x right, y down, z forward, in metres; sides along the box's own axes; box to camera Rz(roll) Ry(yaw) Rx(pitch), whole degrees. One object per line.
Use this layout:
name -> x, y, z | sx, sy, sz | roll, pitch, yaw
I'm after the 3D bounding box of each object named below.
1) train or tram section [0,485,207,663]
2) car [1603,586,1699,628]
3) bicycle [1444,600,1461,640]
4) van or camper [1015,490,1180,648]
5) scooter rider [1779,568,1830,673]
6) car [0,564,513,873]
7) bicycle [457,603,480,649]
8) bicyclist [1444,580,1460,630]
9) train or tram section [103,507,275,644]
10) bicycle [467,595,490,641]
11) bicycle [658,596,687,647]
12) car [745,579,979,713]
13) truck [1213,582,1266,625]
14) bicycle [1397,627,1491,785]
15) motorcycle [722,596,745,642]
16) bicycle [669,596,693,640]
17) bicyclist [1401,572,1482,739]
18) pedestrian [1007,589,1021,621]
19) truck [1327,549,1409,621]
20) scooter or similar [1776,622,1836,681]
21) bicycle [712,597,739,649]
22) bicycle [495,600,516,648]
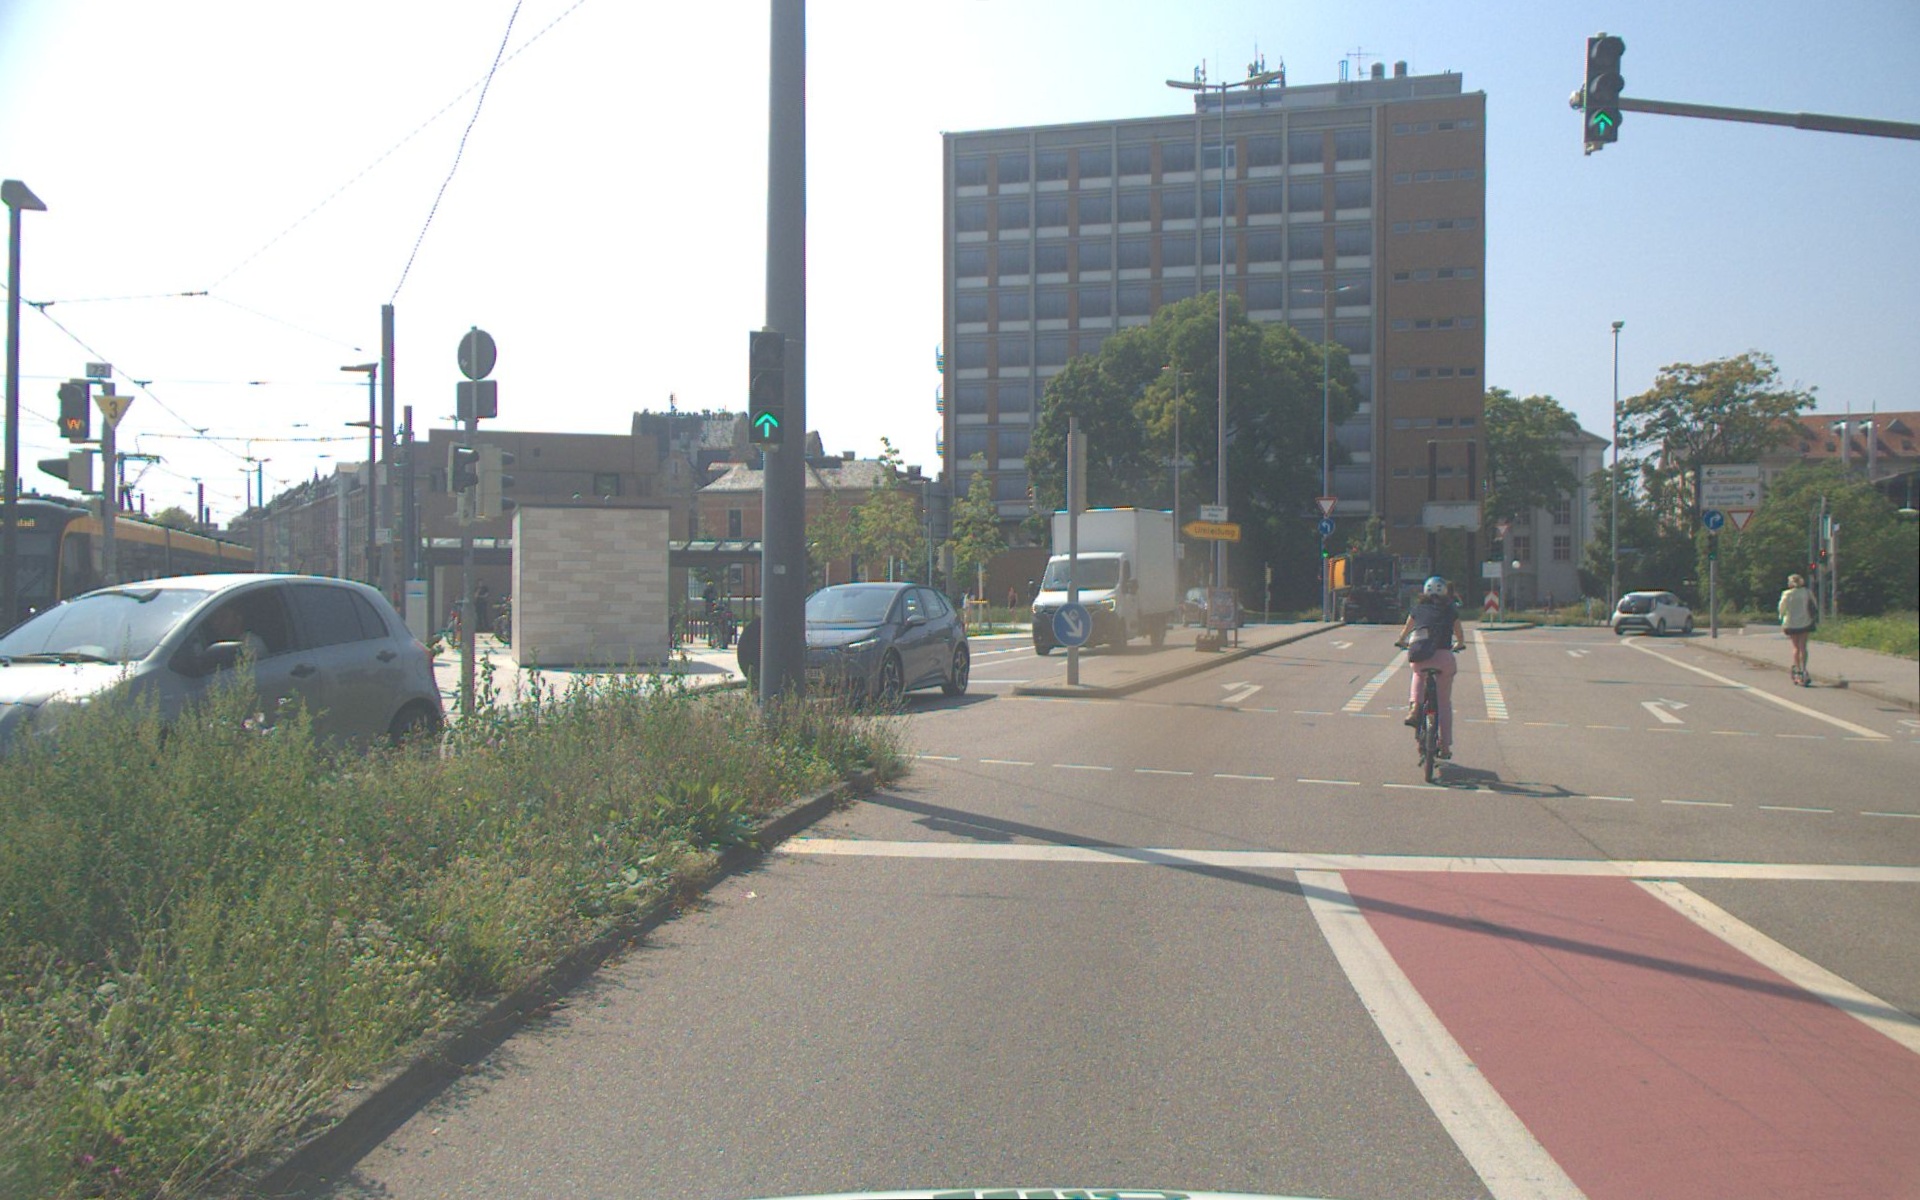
train or tram section -> -21.865, -0.548, 41.978 | 2.812, 3.610, 17.654 | 1, 0, -17
car -> 24.143, 0.238, 57.732 | 1.817, 1.416, 3.973 | 0, 0, 44
bicycle -> 14.135, 0.565, 47.498 | 0.434, 1.136, 1.447 | 0, 0, 16
van or camper -> 3.398, -0.685, 39.023 | 2.349, 3.364, 7.194 | 0, 0, 17
scooter rider -> 14.738, 0.347, 28.880 | 0.746, 1.806, 0.555 | 0, 0, 22
car -> -4.782, 0.585, 10.651 | 1.616, 1.557, 4.328 | 0, 0, 17
bicycle -> -11.519, 0.599, 38.777 | 0.456, 1.051, 1.541 | 1, 0, -15
bicyclist -> 14.160, 0.145, 47.604 | 0.440, 1.446, 0.496 | 0, 0, 16
train or tram section -> -27.263, -0.751, 59.536 | 2.840, 4.139, 19.051 | 1, 0, -17
bicycle -> -13.517, 0.492, 46.456 | 0.596, 1.275, 2.610 | 1, 0, -16
bicycle -> -7.021, 0.511, 40.443 | 0.592, 1.232, 1.808 | 0, 0, -6
car -> -1.146, 0.520, 21.482 | 1.661, 1.557, 4.185 | 0, 0, 17
truck -> 10.274, 0.121, 60.679 | 1.522, 1.530, 3.623 | 0, 0, 16
bicycle -> 4.019, 0.842, 13.822 | 0.591, 1.183, 1.812 | 0, 0, 11
motorcycle -> -6.309, 0.520, 46.115 | 0.592, 1.232, 2.250 | 0, 0, -6
bicycle -> -8.046, 0.497, 47.781 | 0.592, 1.232, 1.808 | 0, 0, -6
bicyclist -> 4.008, 0.447, 13.797 | 0.590, 1.358, 0.660 | 0, 0, 11
pedestrian -> 2.632, 0.241, 80.596 | 0.524, 1.579, 0.413 | 0, 0, -29
truck -> 18.022, -0.656, 73.298 | 2.639, 3.042, 5.970 | 0, 0, 5
scooter or similar -> 14.698, 0.879, 28.764 | 0.756, 0.943, 1.620 | 1, 1, 21
bicycle -> -5.748, 0.544, 40.558 | 0.592, 1.232, 1.808 | 0, 0, -6
bicycle -> -10.825, 0.567, 39.411 | 0.456, 1.120, 1.416 | 1, 0, -15
